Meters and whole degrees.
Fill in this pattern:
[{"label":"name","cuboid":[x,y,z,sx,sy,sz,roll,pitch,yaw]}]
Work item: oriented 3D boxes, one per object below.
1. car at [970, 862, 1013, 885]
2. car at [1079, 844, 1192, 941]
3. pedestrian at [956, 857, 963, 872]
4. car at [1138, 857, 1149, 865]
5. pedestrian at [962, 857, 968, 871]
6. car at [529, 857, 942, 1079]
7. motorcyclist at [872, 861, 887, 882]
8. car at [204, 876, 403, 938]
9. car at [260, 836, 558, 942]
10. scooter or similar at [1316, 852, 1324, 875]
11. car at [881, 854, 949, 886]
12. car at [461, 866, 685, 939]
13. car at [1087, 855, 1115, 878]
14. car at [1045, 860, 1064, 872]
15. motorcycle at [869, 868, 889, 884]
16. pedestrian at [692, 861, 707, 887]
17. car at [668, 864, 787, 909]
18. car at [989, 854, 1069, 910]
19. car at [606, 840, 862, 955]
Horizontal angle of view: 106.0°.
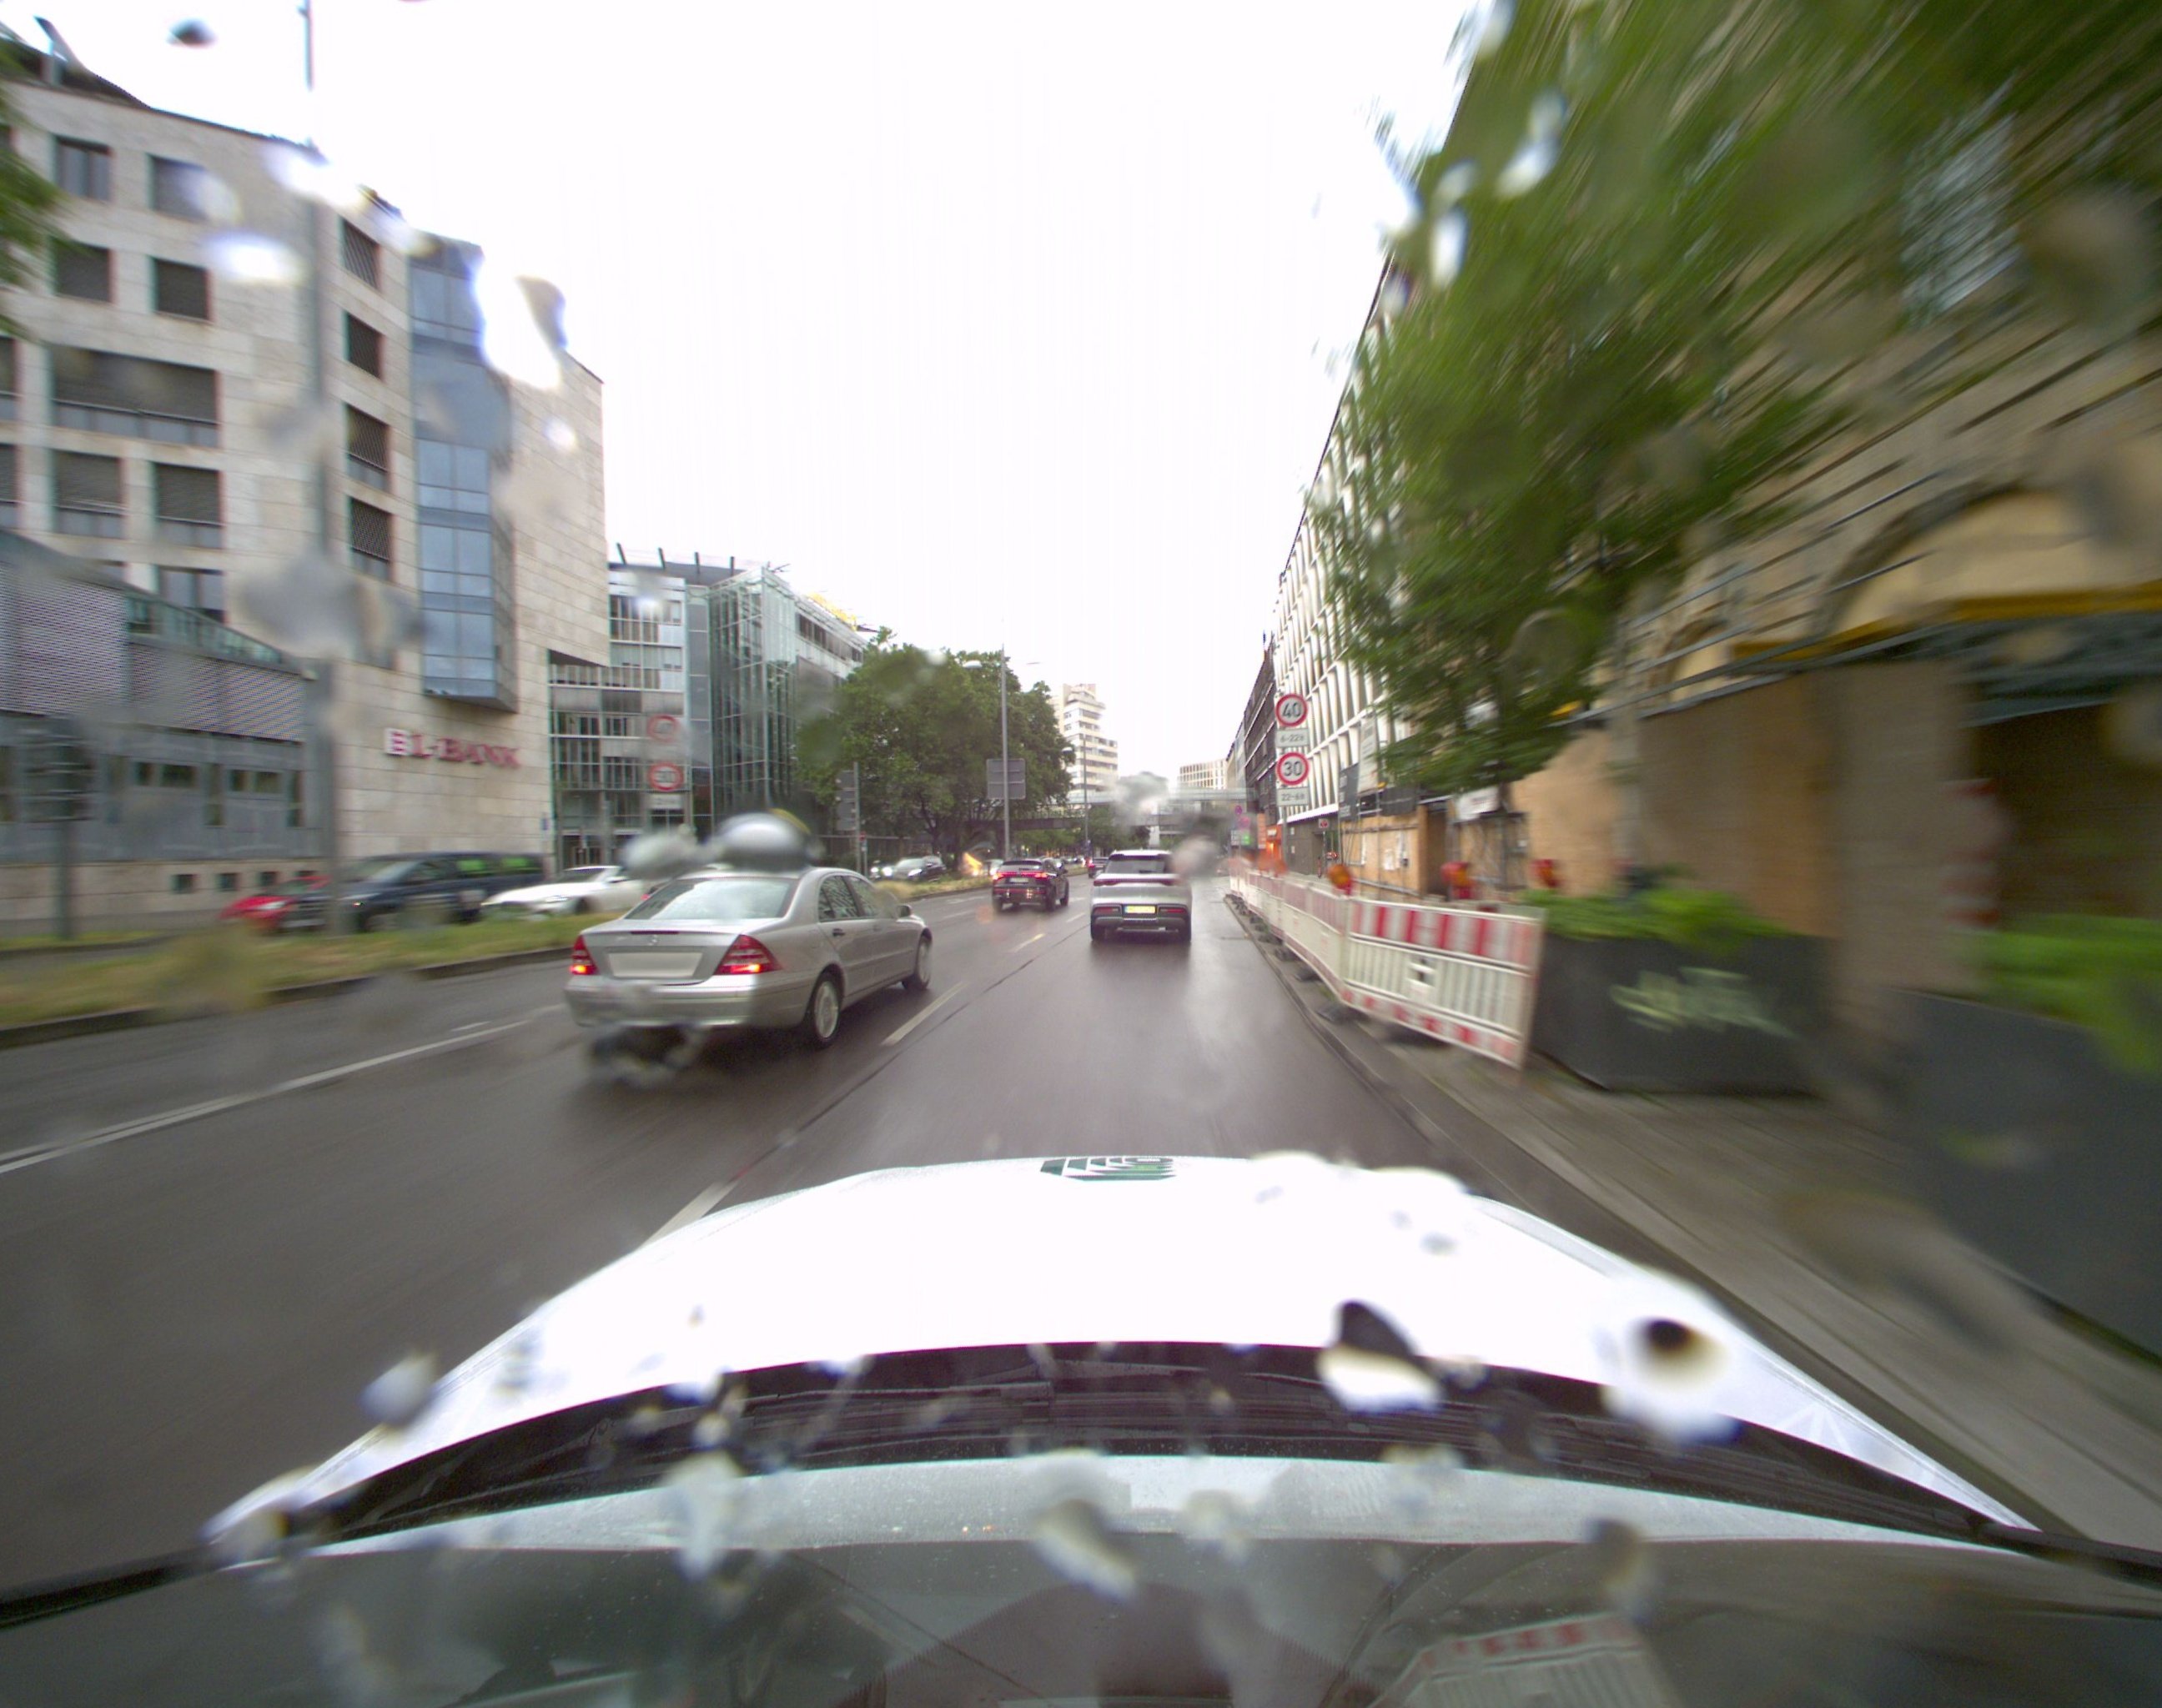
[{"label":"car","cuboid":[-5.697,1.238,52.285,1.587,1.360,4.128,-1,-1,10]},{"label":"car","cuboid":[1.190,0.673,15.801,1.891,1.621,4.008,-1,-1,8]},{"label":"pedestrian","cuboid":[-15.337,1.289,102.554,0.718,1.807,0.619,-1,0,8]},{"label":"car","cuboid":[11.647,1.250,150.666,1.643,1.342,4.011,-1,0,9]},{"label":"pedestrian","cuboid":[-14.623,1.242,102.425,0.556,1.686,0.512,-1,0,6]},{"label":"car","cuboid":[-2.717,0.804,7.679,1.664,1.479,4.367,0,-1,6]},{"label":"motorcyclist","cuboid":[-12.333,1.058,49.804,0.671,1.238,0.621,-1,-1,9]},{"label":"car","cuboid":[-20.009,1.312,21.142,1.581,1.416,3.412,-1,-1,12]},{"label":"car","cuboid":[-14.610,0.714,18.215,1.819,2.002,5.119,-1,-1,11]},{"label":"scooter or similar","cuboid":[13.276,0.505,45.165,0.408,1.236,1.194,-1,0,16]},{"label":"car","cuboid":[-7.862,0.759,39.068,1.690,1.437,4.592,-1,-1,8]},{"label":"car","cuboid":[-11.334,1.025,18.583,1.848,1.442,4.326,-1,-1,11]},{"label":"car","cuboid":[1.493,0.889,58.813,1.803,1.578,4.005,-1,0,5]},{"label":"car","cuboid":[-3.442,1.553,106.097,1.681,1.438,4.769,-1,-1,8]},{"label":"motorcycle","cuboid":[-12.324,1.341,49.781,0.690,0.970,1.400,-1,0,9]},{"label":"pedestrian","cuboid":[-23.226,1.207,49.584,0.667,1.570,0.818,-1,1,-14]},{"label":"car","cuboid":[-12.564,1.114,29.284,1.716,1.432,4.409,-1,-1,11]},{"label":"car","cuboid":[-1.436,0.780,23.829,1.766,1.457,4.004,-1,-1,4]},{"label":"car","cuboid":[-5.803,0.614,14.466,1.862,1.478,4.889,-4,2,7]}]
